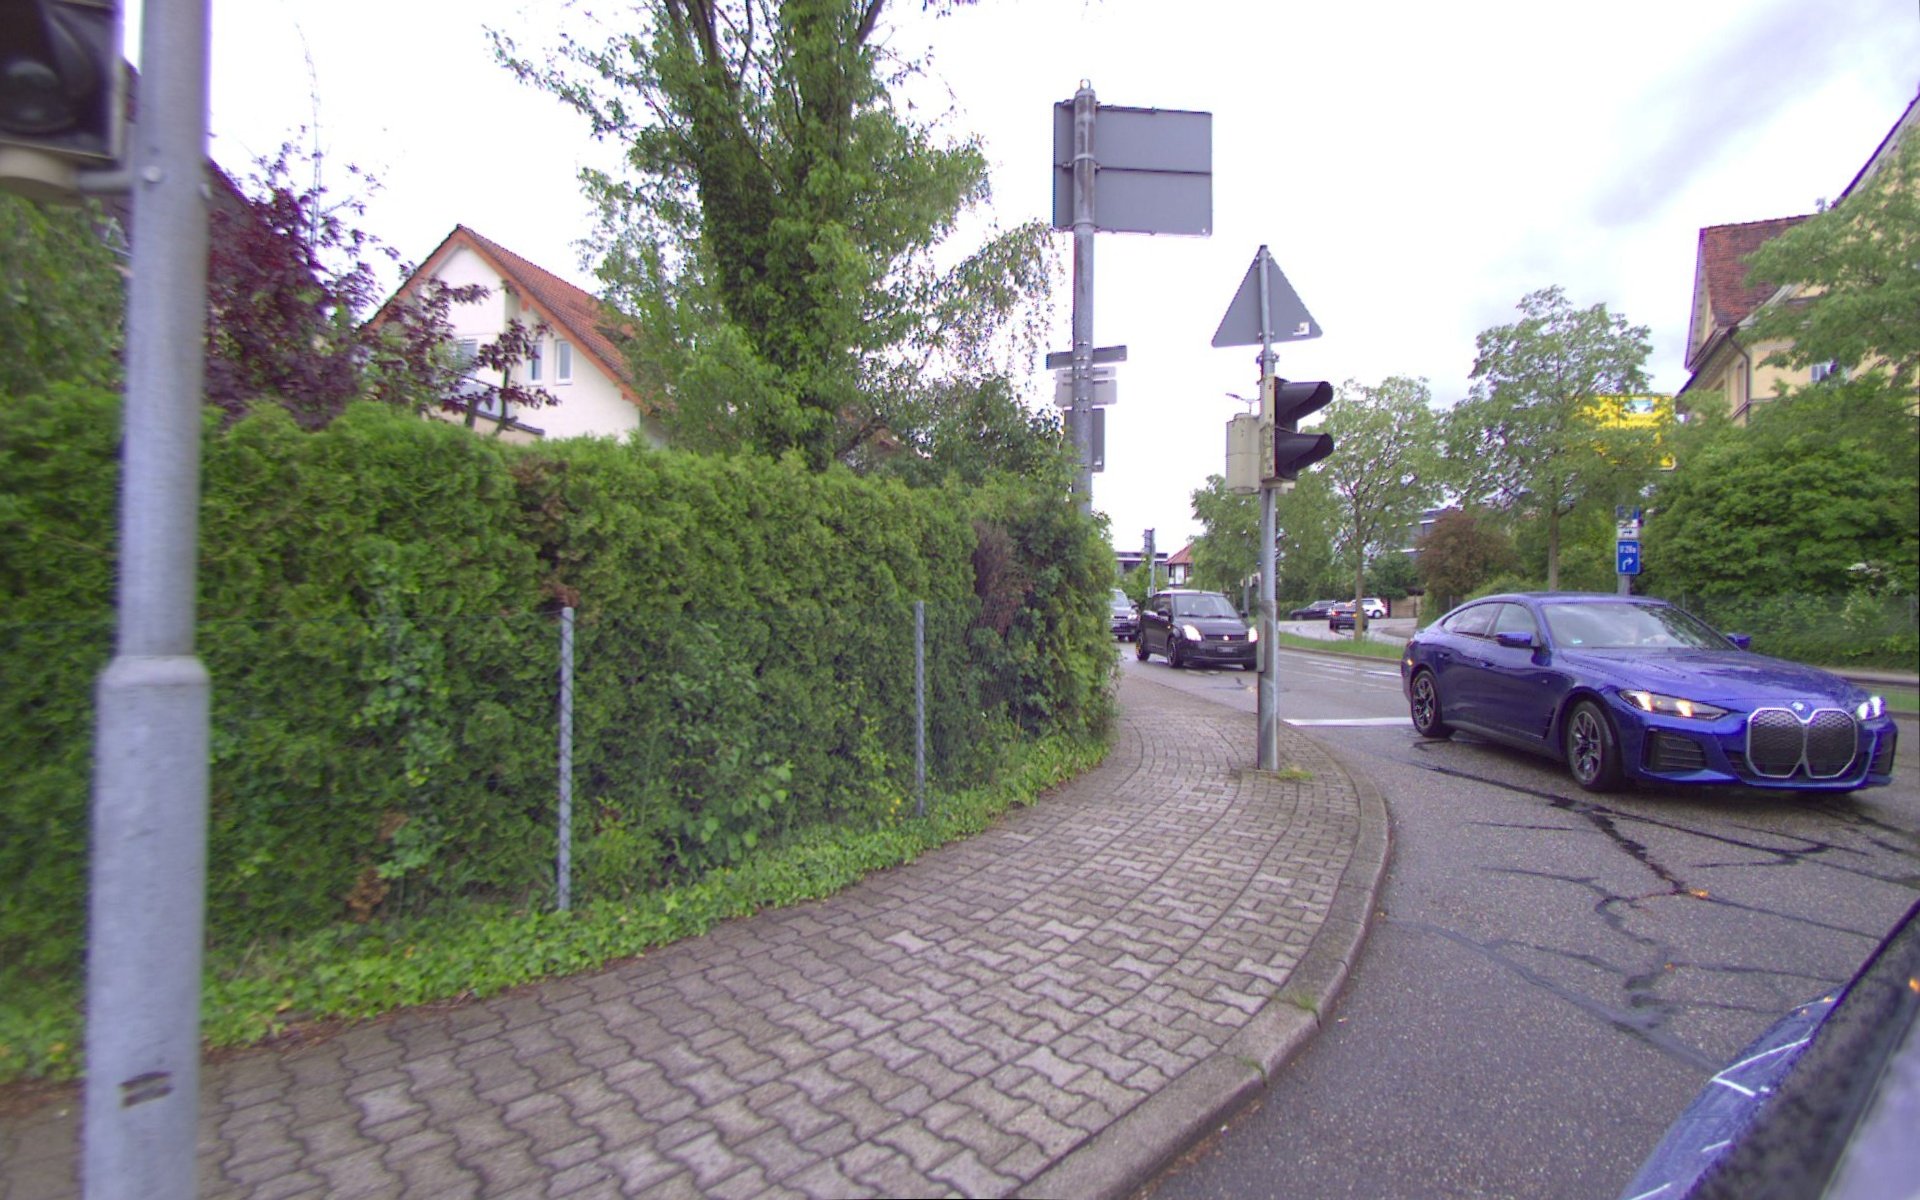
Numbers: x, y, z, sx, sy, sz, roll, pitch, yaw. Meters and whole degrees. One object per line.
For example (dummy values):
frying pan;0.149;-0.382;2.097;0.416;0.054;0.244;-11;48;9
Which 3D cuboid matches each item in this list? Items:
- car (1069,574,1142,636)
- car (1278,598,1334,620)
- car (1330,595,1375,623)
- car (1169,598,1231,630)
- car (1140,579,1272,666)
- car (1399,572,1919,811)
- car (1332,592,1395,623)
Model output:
car;4.544;0.220;32.171;1.933;1.773;4.301;-2;-2;4
car;28.383;0.775;83.033;3.968;1.651;1.913;-3;-3;32
car;21.885;0.545;56.385;1.979;1.456;4.507;-1;-2;25
car;15.343;0.902;64.602;3.929;1.951;1.909;1;-3;-41
car;4.832;0.367;20.381;1.715;1.538;3.999;-2;1;1
car;5.570;0.548;8.621;1.879;1.514;4.347;-1;1;2
car;29.513;0.579;74.106;3.940;2.040;1.991;-2;-3;14
